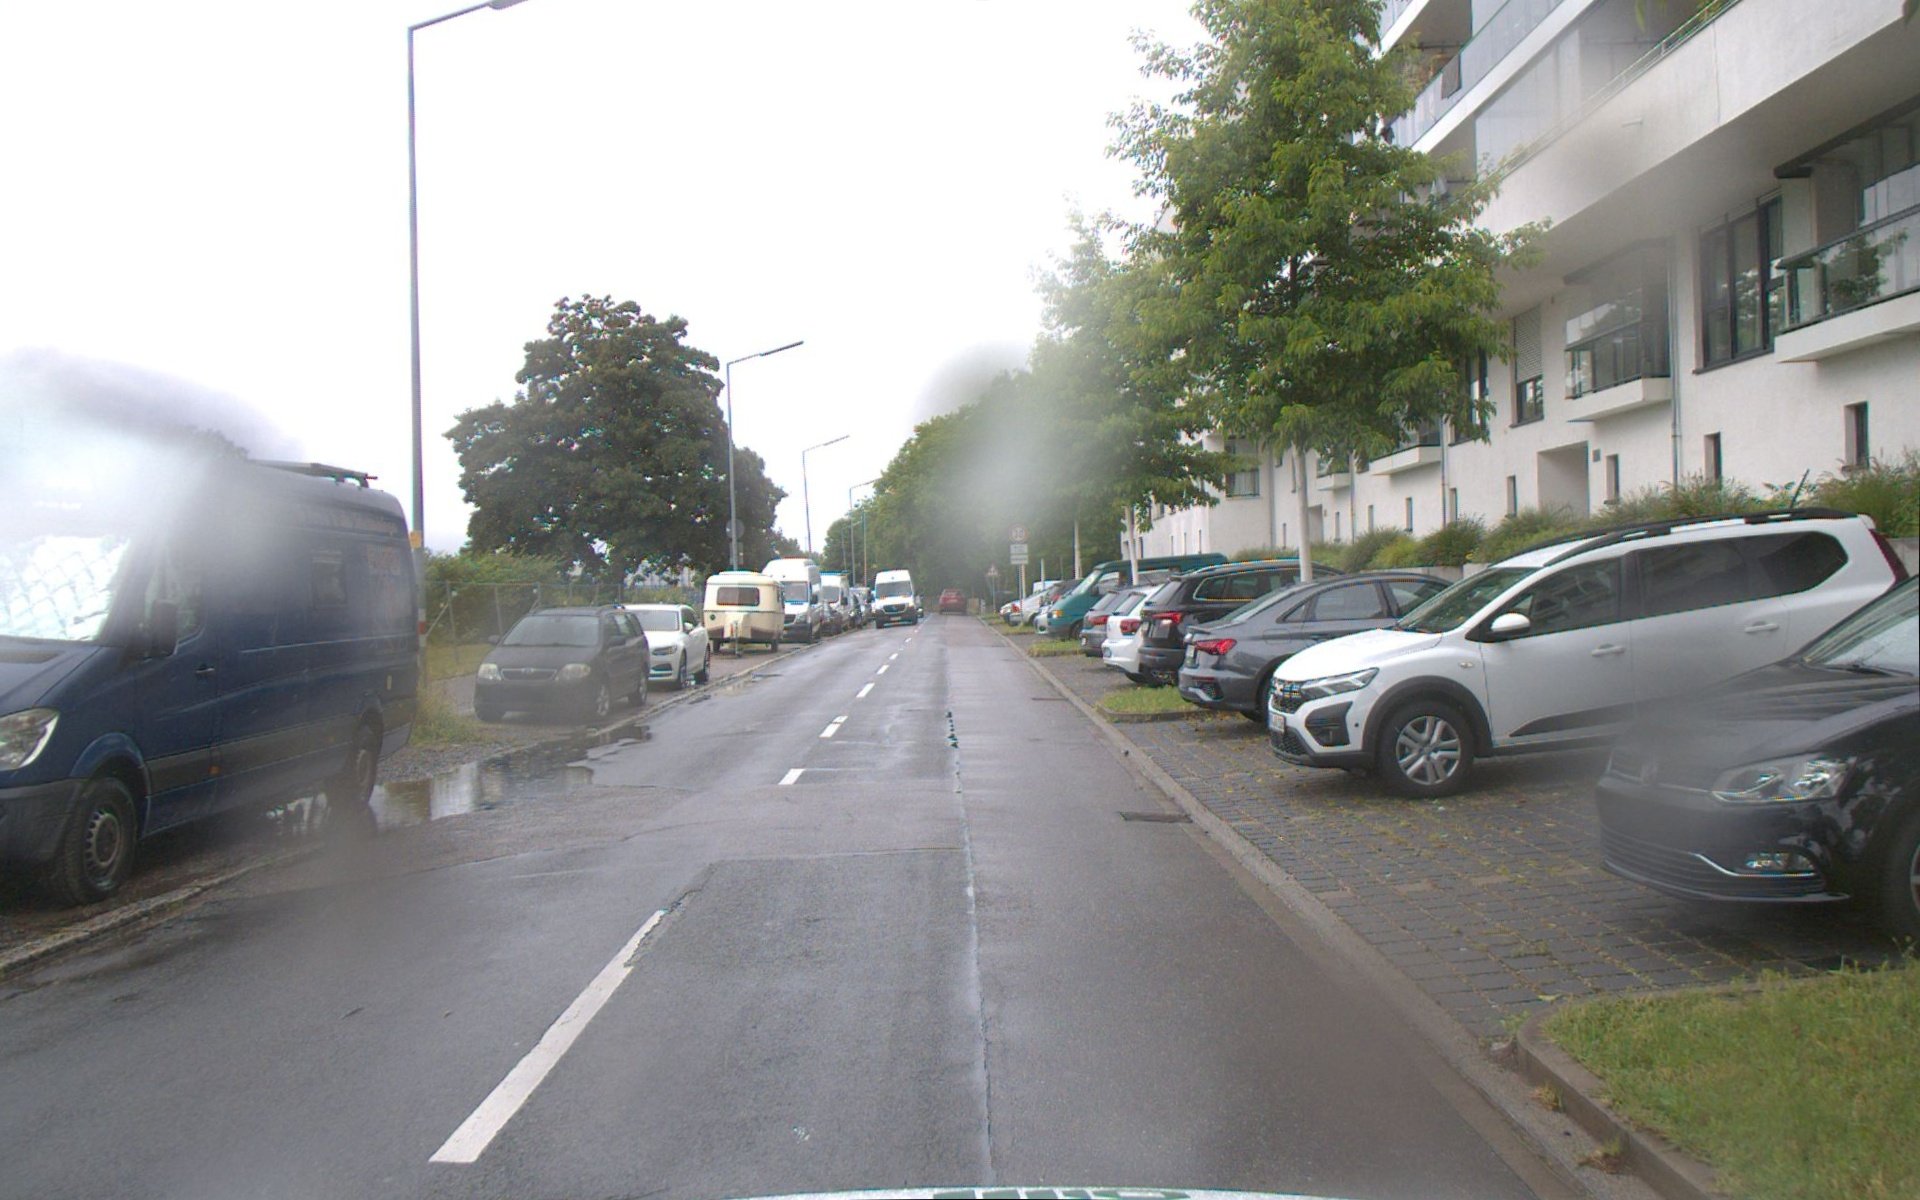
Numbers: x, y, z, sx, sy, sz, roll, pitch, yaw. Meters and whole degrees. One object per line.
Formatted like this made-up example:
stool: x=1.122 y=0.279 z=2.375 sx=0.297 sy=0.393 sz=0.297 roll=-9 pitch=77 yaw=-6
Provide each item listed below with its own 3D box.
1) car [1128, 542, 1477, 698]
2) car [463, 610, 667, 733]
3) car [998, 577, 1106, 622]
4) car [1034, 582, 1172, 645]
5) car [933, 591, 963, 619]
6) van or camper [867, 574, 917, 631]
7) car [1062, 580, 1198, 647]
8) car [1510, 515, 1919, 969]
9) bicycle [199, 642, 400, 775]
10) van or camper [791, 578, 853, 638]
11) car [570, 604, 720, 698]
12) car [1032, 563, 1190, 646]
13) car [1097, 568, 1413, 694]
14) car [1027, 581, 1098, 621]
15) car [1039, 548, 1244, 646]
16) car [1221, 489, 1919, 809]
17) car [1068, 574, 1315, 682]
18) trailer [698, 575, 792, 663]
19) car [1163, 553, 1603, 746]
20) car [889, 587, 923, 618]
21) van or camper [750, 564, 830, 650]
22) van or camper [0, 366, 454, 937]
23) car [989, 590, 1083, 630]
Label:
car: x=4.425 y=0.250 z=21.812 sx=4.080 sy=1.652 sz=1.896 roll=-4 pitch=0 yaw=-3
car: x=-5.514 y=0.939 z=23.721 sx=1.737 sy=1.529 sz=4.827 roll=-1 pitch=0 yaw=0
car: x=3.804 y=-0.018 z=68.938 sx=4.299 sy=1.662 sz=2.005 roll=-3 pitch=0 yaw=-1
car: x=4.280 y=0.385 z=49.756 sx=3.808 sy=1.711 sz=1.862 roll=-2 pitch=0 yaw=-6
car: x=-0.755 y=0.342 z=108.627 sx=1.720 sy=1.735 sz=4.001 roll=-3 pitch=0 yaw=2
van or camper: x=-3.270 y=0.102 z=80.470 sx=1.953 sy=2.540 sz=7.178 roll=-3 pitch=0 yaw=0
car: x=4.241 y=0.317 z=41.451 sx=3.189 sy=1.508 sz=1.317 roll=-3 pitch=0 yaw=-2
car: x=4.619 y=0.367 z=6.852 sx=3.910 sy=1.521 sz=1.935 roll=-5 pitch=-1 yaw=-4
bicycle: x=-6.902 y=1.097 z=17.476 sx=0.680 sy=1.170 sz=2.683 roll=-1 pitch=1 yaw=9
van or camper: x=-6.019 y=0.339 z=72.673 sx=2.144 sy=2.505 sz=6.376 roll=-1 pitch=0 yaw=0
car: x=-5.619 y=0.851 z=30.106 sx=1.848 sy=1.552 sz=5.108 roll=0 pitch=0 yaw=-1
car: x=4.026 y=0.111 z=44.493 sx=4.010 sy=1.927 sz=1.727 roll=-4 pitch=0 yaw=0
car: x=4.238 y=0.436 z=24.132 sx=4.214 sy=1.452 sz=1.636 roll=-4 pitch=0 yaw=-3
car: x=6.168 y=0.060 z=99.667 sx=3.904 sy=2.333 sz=1.777 roll=-2 pitch=0 yaw=20
car: x=4.272 y=-0.070 z=39.380 sx=4.528 sy=2.054 sz=1.856 roll=-3 pitch=0 yaw=-5
car: x=4.347 y=0.313 z=12.150 sx=4.388 sy=1.715 sz=1.935 roll=-6 pitch=1 yaw=-2
car: x=3.989 y=0.470 z=28.846 sx=3.951 sy=1.525 sz=1.630 roll=-4 pitch=0 yaw=-4
trailer: x=-5.934 y=0.493 z=46.333 sx=2.017 sy=2.256 sz=5.792 roll=-1 pitch=0 yaw=-2
car: x=4.143 y=0.455 z=16.623 sx=3.907 sy=1.535 sz=1.684 roll=-4 pitch=1 yaw=-1
car: x=-3.309 y=0.140 z=101.703 sx=1.843 sy=1.788 sz=4.068 roll=-3 pitch=0 yaw=1
van or camper: x=-5.908 y=0.233 z=58.354 sx=1.953 sy=2.810 sz=7.898 roll=-1 pitch=0 yaw=0
van or camper: x=-5.676 y=0.277 z=11.744 sx=2.052 sy=2.763 sz=7.571 roll=0 pitch=0 yaw=-2
car: x=3.508 y=0.457 z=76.509 sx=4.015 sy=1.602 sz=1.865 roll=-3 pitch=0 yaw=-8
